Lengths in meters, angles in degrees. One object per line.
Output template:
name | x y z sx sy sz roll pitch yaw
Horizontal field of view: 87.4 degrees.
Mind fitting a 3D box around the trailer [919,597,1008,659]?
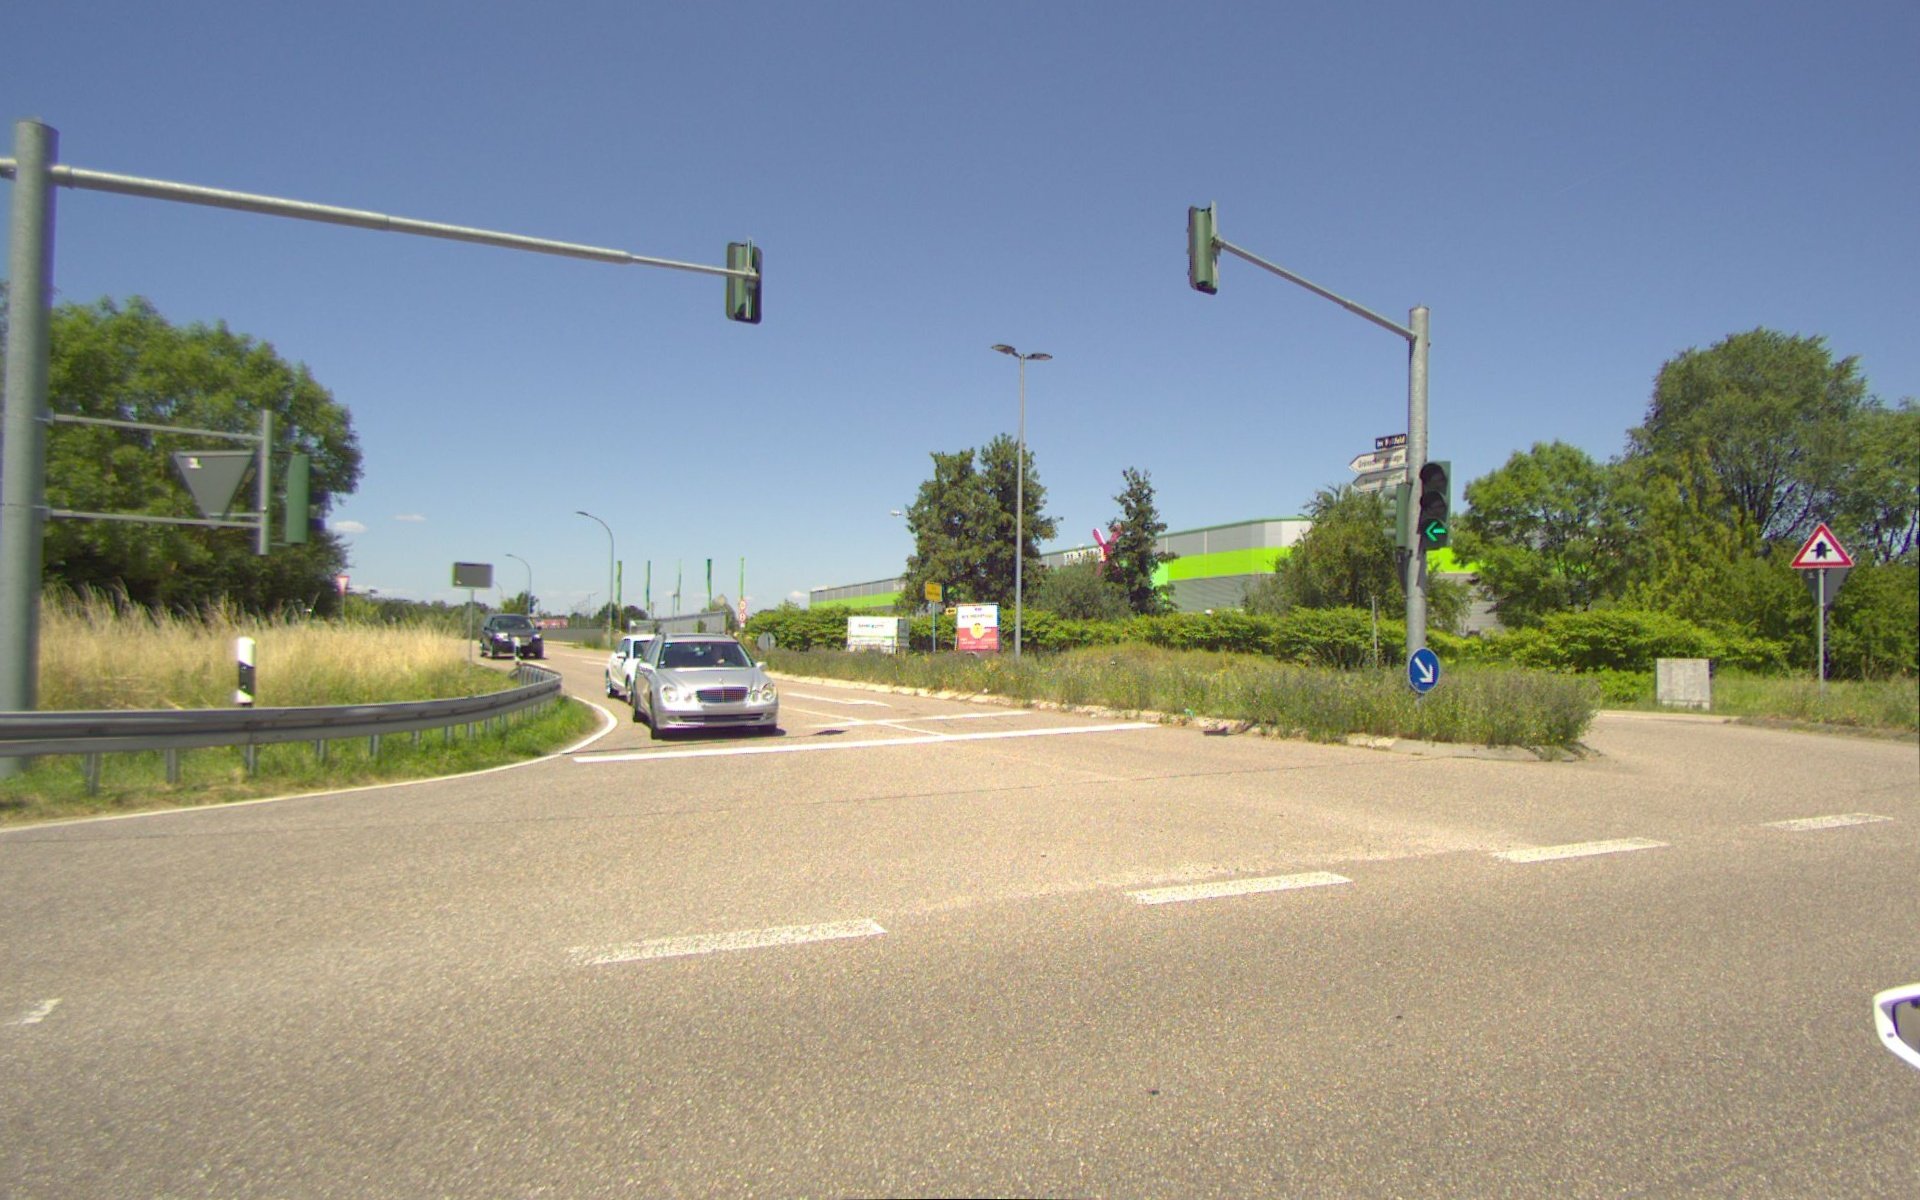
trailer | 0.180 1.294 46.837 3.685 2.801 1.827 1 -1 21

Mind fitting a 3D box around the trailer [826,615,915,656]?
trailer | -4.175 1.660 47.028 3.685 1.814 1.826 1 -2 22

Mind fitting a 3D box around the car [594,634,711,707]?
car | -6.930 1.486 22.382 1.749 1.417 3.934 1 -1 -29

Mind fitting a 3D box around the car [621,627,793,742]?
car | -4.166 1.205 15.896 1.851 1.476 4.942 2 -2 -23

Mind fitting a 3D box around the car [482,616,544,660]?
car | -17.909 1.481 40.152 1.751 1.646 4.199 1 -1 -31
